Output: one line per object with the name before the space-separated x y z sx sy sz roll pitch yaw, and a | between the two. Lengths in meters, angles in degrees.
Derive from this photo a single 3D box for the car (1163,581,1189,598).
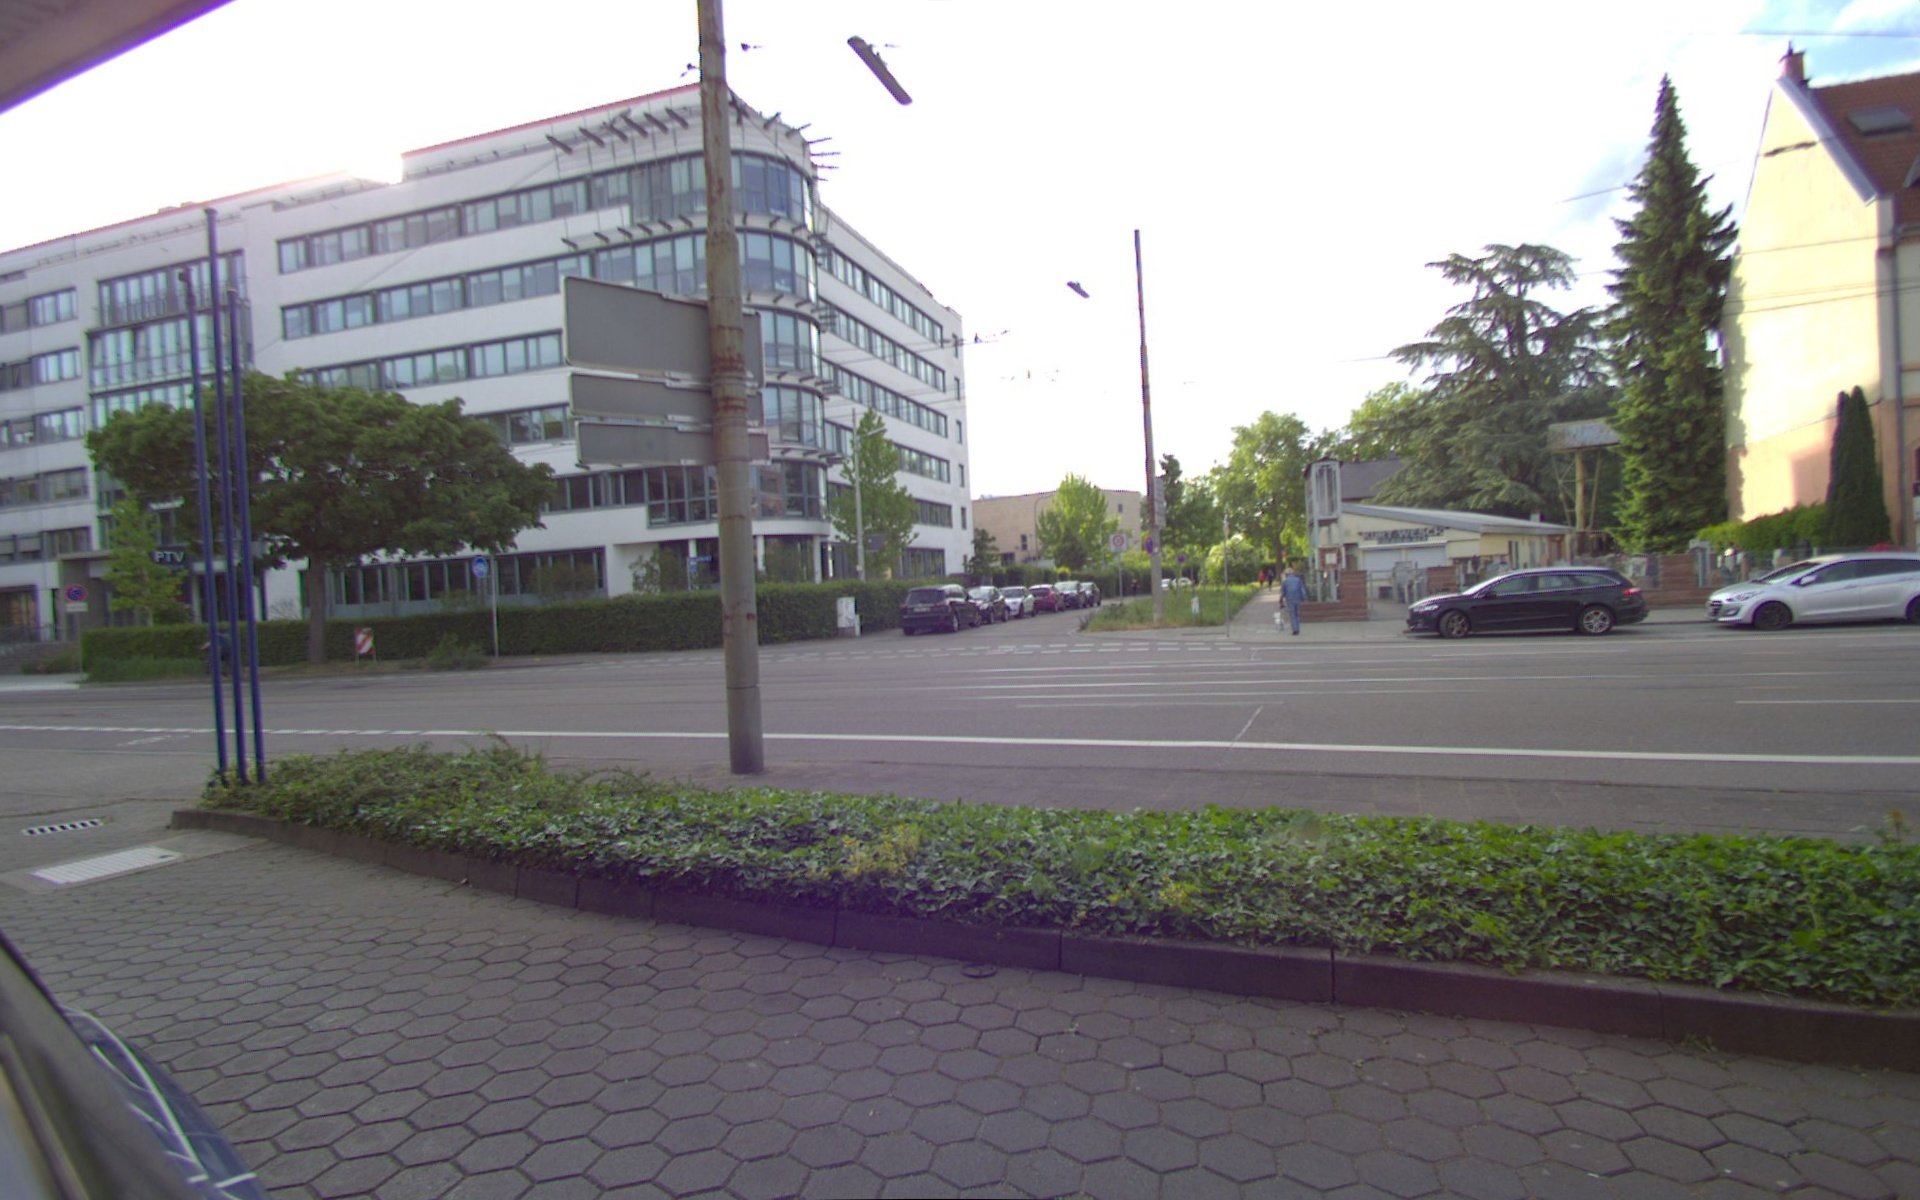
car | 22.839 -1.143 106.855 1.813 1.654 4.040 -4 0 25

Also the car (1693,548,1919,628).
car | 18.405 -0.266 21.398 4.349 1.493 1.732 -3 1 22

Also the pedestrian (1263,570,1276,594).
pedestrian | 24.601 -1.446 80.431 0.965 1.896 1.056 -1 0 17

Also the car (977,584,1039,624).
car | 2.224 0.155 45.687 1.807 1.589 4.175 -4 0 16

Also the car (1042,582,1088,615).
car | 6.032 -0.131 57.806 1.807 1.704 4.392 -4 0 16

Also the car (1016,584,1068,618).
car | 4.300 0.027 52.409 1.807 1.589 4.175 -4 0 16

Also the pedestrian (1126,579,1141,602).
pedestrian | 14.961 -0.811 87.234 0.958 1.896 1.063 -1 0 -7

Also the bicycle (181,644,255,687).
bicycle | -22.782 2.010 31.079 1.863 1.248 0.788 -1 0 12

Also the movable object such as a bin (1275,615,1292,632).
movable object such as a bin | 8.802 0.631 27.575 0.363 0.397 0.660 -3 3 13

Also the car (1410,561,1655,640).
car | 13.012 0.010 23.369 4.632 1.533 1.842 -3 2 22

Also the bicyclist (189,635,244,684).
bicyclist | -22.815 1.828 31.067 1.164 1.462 0.788 -1 0 11

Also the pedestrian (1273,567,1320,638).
pedestrian | 8.593 0.057 25.883 0.899 1.712 0.923 -3 3 7

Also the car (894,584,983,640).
car | -0.687 0.359 35.568 1.807 1.701 4.370 -4 1 16

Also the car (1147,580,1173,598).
car | 19.962 -1.124 100.908 1.811 1.654 4.044 -4 0 22

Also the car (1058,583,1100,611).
car | 7.387 -0.207 62.572 1.807 1.585 4.052 -4 0 16

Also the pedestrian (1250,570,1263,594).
pedestrian | 23.628 -1.433 80.722 0.965 1.896 1.056 -1 0 17

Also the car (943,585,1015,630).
car | 0.830 0.273 40.983 1.807 1.589 4.175 -4 0 16
